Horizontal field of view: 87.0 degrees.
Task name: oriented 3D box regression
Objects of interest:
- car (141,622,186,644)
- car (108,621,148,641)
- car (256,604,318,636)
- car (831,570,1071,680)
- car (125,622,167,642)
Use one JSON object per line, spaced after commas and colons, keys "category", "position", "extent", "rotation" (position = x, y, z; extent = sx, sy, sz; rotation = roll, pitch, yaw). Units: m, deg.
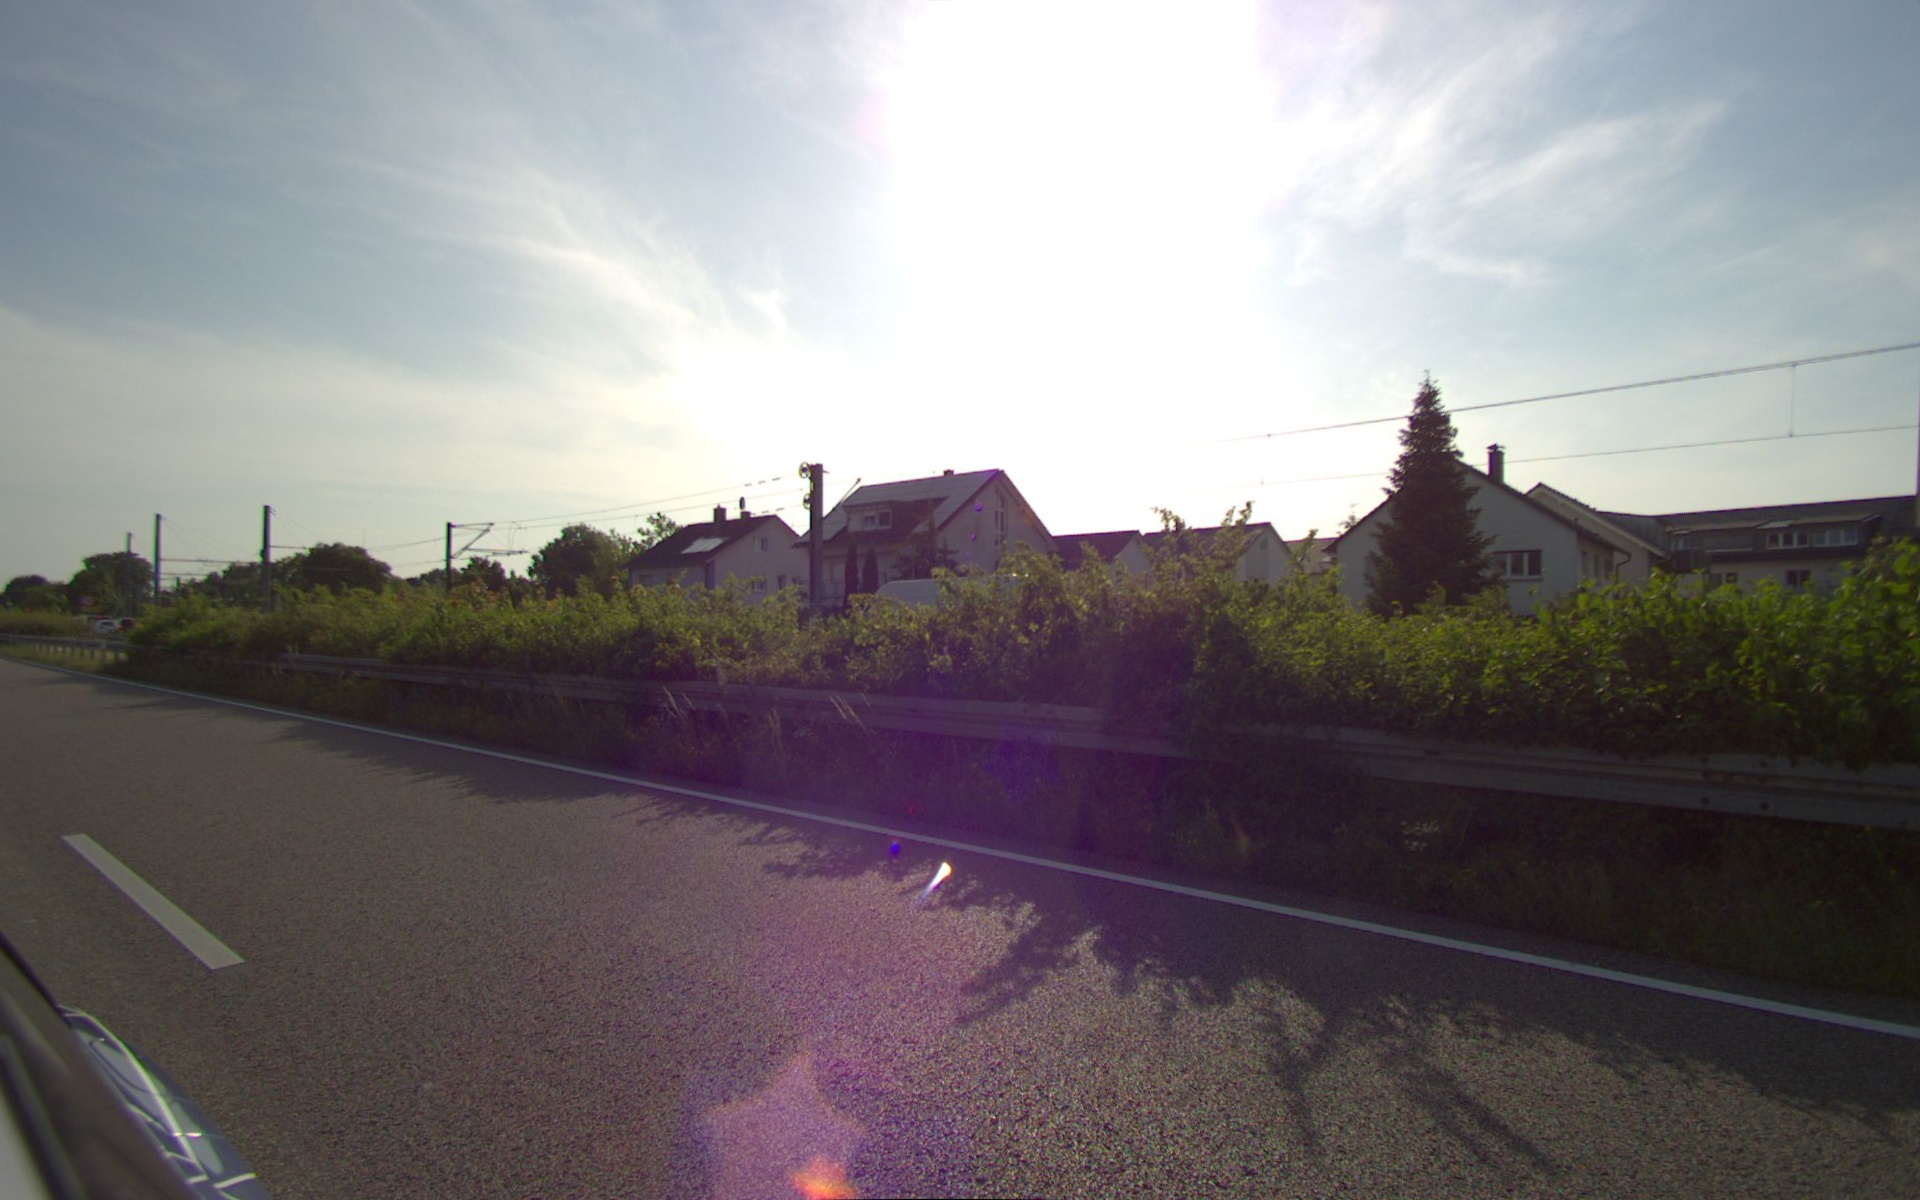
{"category": "car", "position": [-53.902, 2.226, 68.476], "extent": [3.620, 1.377, 1.711], "rotation": [-1, -4, 41]}
{"category": "car", "position": [-63.142, 2.354, 76.792], "extent": [3.620, 1.377, 1.711], "rotation": [-1, -4, 41]}
{"category": "car", "position": [-38.975, 1.133, 58.592], "extent": [3.998, 1.763, 1.973], "rotation": [-1, 0, 41]}
{"category": "car", "position": [-0.289, 0.494, 20.977], "extent": [4.869, 2.029, 1.973], "rotation": [-1, 0, 41]}
{"category": "car", "position": [-59.085, 2.349, 73.479], "extent": [3.620, 1.377, 1.711], "rotation": [-1, -4, 41]}
